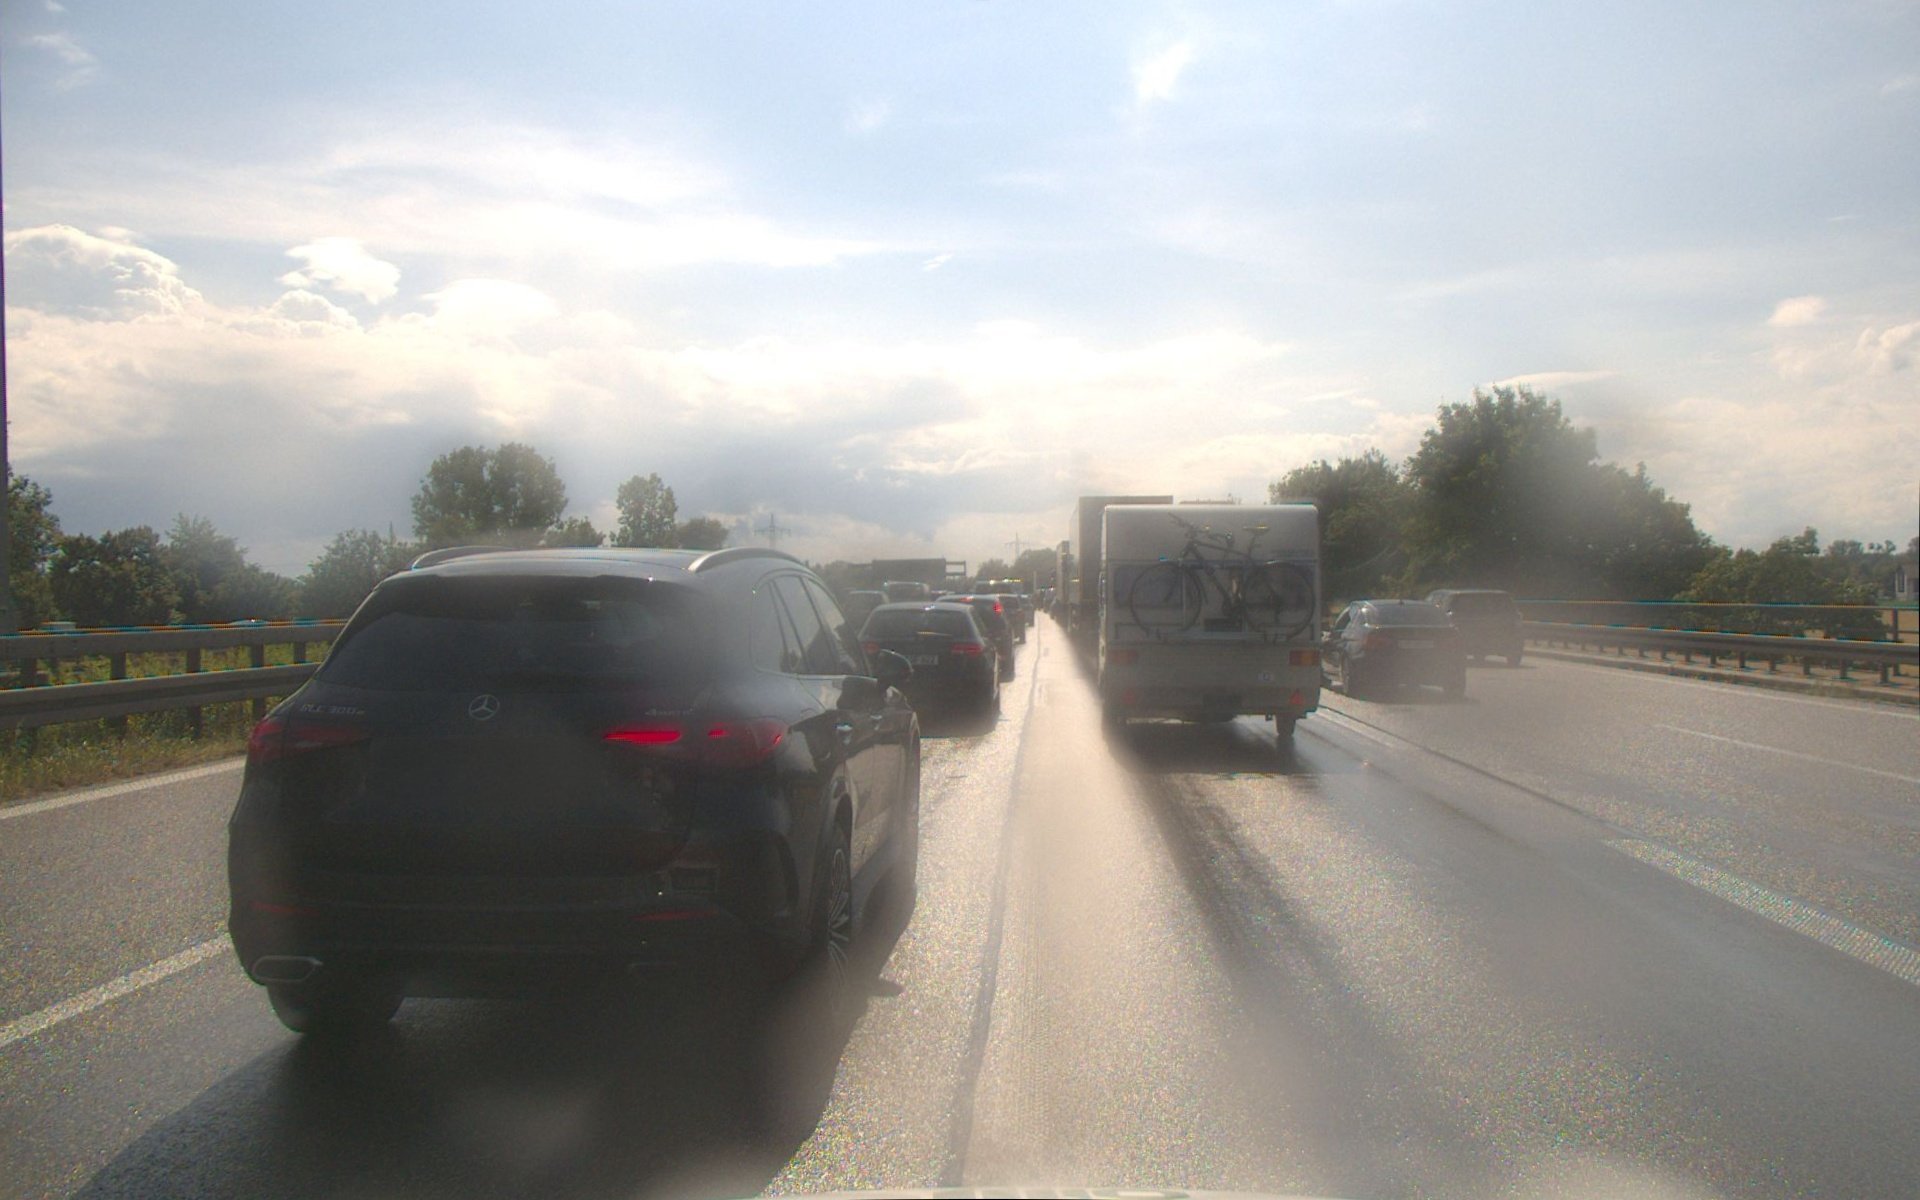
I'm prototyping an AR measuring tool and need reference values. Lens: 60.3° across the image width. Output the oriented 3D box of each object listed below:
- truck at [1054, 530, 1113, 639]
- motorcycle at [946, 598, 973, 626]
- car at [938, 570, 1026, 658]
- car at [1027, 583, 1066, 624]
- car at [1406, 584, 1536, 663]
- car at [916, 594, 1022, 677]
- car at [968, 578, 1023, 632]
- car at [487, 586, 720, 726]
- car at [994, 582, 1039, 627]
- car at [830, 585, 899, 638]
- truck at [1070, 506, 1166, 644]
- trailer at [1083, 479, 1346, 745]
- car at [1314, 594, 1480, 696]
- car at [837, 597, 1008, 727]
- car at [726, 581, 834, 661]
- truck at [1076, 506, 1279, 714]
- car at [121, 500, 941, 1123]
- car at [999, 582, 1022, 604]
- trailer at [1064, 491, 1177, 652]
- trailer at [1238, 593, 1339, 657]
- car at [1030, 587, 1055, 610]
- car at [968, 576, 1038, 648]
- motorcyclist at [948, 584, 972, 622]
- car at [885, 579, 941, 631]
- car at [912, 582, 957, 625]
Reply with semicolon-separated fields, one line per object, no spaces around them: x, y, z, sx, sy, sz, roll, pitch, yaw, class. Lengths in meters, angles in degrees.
5.812;-0.711;78.552;2.450;4.914;7.545;0;0;2;truck
-0.008;0.543;76.683;1.051;1.293;2.691;0;0;4;motorcycle
0.592;0.320;40.624;1.952;2.049;4.002;0;0;4;car
4.595;0.174;87.391;1.952;2.049;4.002;1;0;4;car
11.326;0.483;36.938;1.751;1.641;4.387;0;0;3;car
0.234;0.616;30.793;1.768;1.432;4.002;0;0;3;car
1.432;0.182;65.361;1.952;2.049;4.002;1;0;4;car
-4.263;0.615;20.449;1.720;1.543;4.211;0;0;4;car
2.697;0.206;78.040;1.952;2.049;4.002;1;0;4;car
-3.345;0.373;58.556;1.952;1.803;4.002;0;0;4;car
5.077;-0.781;53.410;2.932;4.239;5.243;0;0;5;truck
2.678;0.112;19.105;2.324;2.526;6.525;0;0;3;trailer
6.669;0.645;25.614;1.704;1.445;3.837;0;0;3;car
-0.355;0.679;20.092;1.720;1.411;3.947;0;0;4;car
-4.107;0.465;38.388;1.952;1.750;4.001;0;0;1;car
2.865;0.119;23.138;2.324;2.520;5.758;0;0;3;truck
-1.219;0.578;6.749;1.952;1.690;4.408;0;0;4;car
4.258;-0.550;139.125;1.837;1.791;4.000;0;0;0;car
4.614;-0.764;48.017;2.943;4.239;8.541;0;0;5;trailer
7.989;0.573;40.570;1.816;1.467;4.149;0;0;3;trailer
6.676;-0.096;133.867;1.837;1.791;4.000;0;0;0;car
1.405;0.360;52.181;1.952;2.048;4.002;3;0;3;car
-0.004;0.131;76.768;1.041;1.748;0.785;0;0;3;motorcyclist
-1.975;0.200;70.803;1.952;2.048;4.002;3;0;3;car
-1.238;0.159;82.554;1.952;2.049;4.002;-1;0;4;car
